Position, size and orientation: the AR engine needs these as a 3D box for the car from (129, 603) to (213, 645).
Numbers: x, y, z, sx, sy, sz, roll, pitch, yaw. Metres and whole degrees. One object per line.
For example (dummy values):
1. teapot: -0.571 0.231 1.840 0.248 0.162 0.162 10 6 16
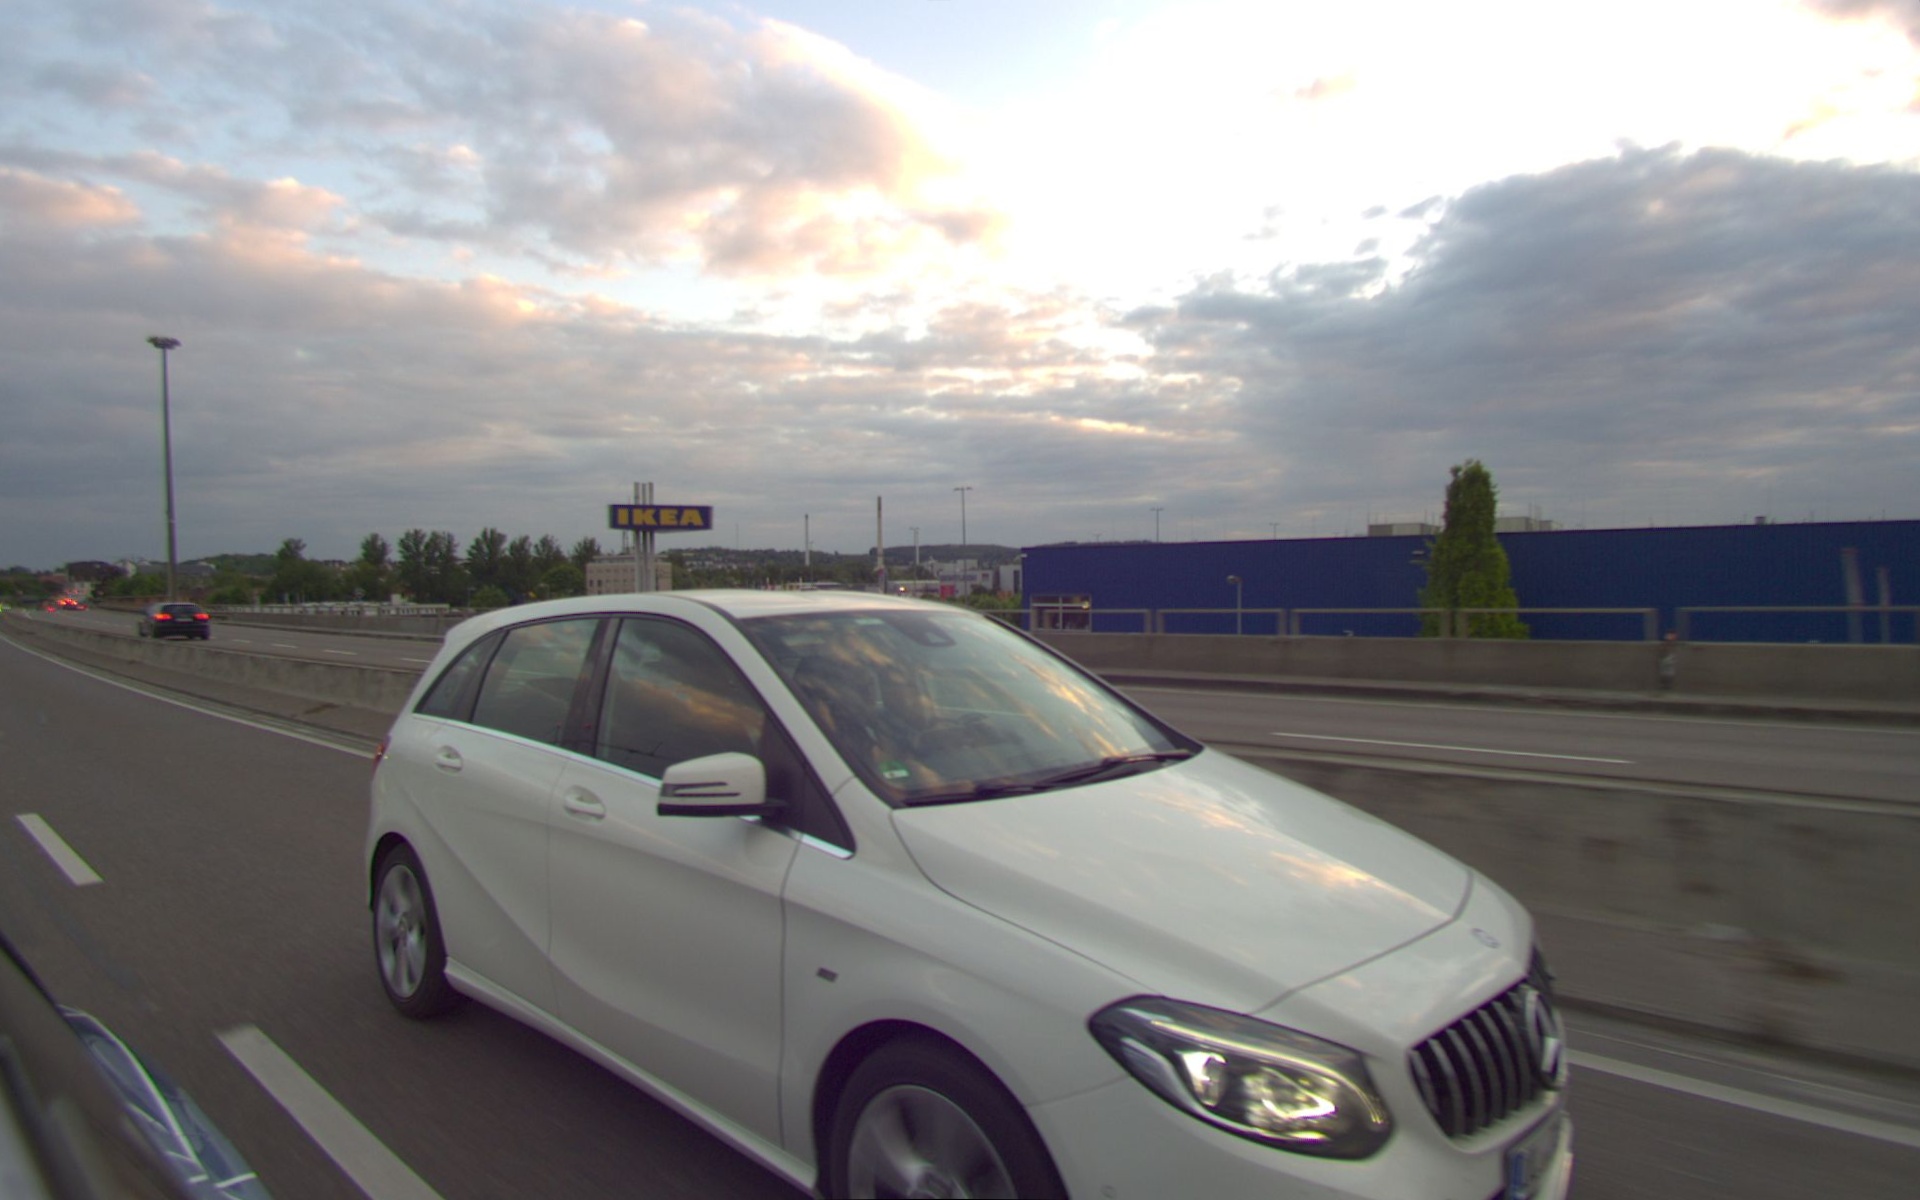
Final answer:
1. car: -29.849 0.853 38.243 4.287 1.491 1.809 0 0 43

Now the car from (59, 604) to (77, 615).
1. car: -130.542 1.391 148.196 1.952 1.618 4.448 -1 0 -41

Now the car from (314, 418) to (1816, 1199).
1. car: -0.420 0.636 3.276 4.783 1.548 1.672 -2 -1 43

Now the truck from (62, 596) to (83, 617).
1. truck: -145.519 1.002 165.905 2.503 3.321 7.457 0 0 -41

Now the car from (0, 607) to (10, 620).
1. car: -152.686 2.157 161.113 1.969 2.029 4.006 0 0 -41
